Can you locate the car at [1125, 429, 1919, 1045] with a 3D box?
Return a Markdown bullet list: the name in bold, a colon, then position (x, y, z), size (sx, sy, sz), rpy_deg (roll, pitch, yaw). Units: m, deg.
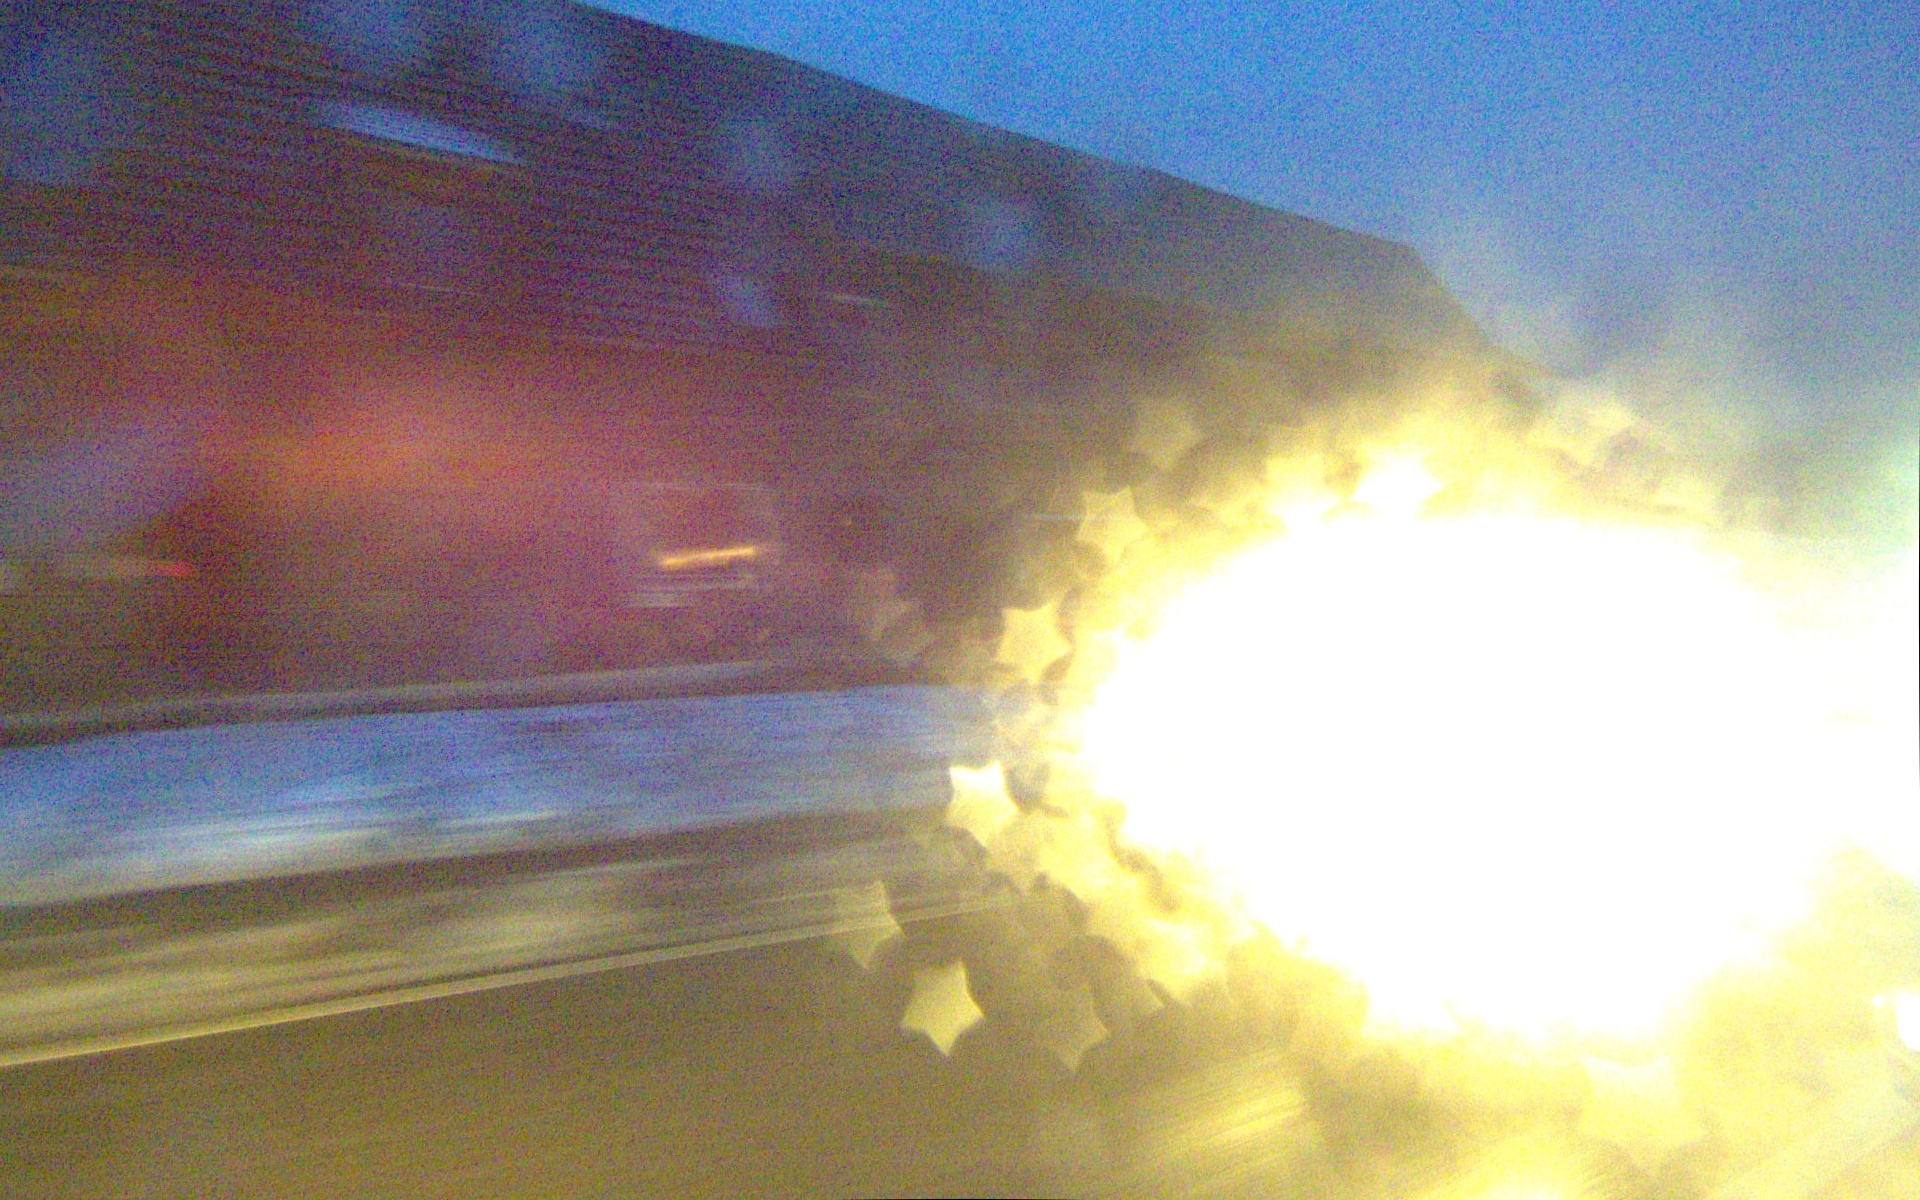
- **car**: position (3.393, 0.507, 5.499), size (4.833, 2.084, 1.908), rpy_deg (2, 0, -32)
